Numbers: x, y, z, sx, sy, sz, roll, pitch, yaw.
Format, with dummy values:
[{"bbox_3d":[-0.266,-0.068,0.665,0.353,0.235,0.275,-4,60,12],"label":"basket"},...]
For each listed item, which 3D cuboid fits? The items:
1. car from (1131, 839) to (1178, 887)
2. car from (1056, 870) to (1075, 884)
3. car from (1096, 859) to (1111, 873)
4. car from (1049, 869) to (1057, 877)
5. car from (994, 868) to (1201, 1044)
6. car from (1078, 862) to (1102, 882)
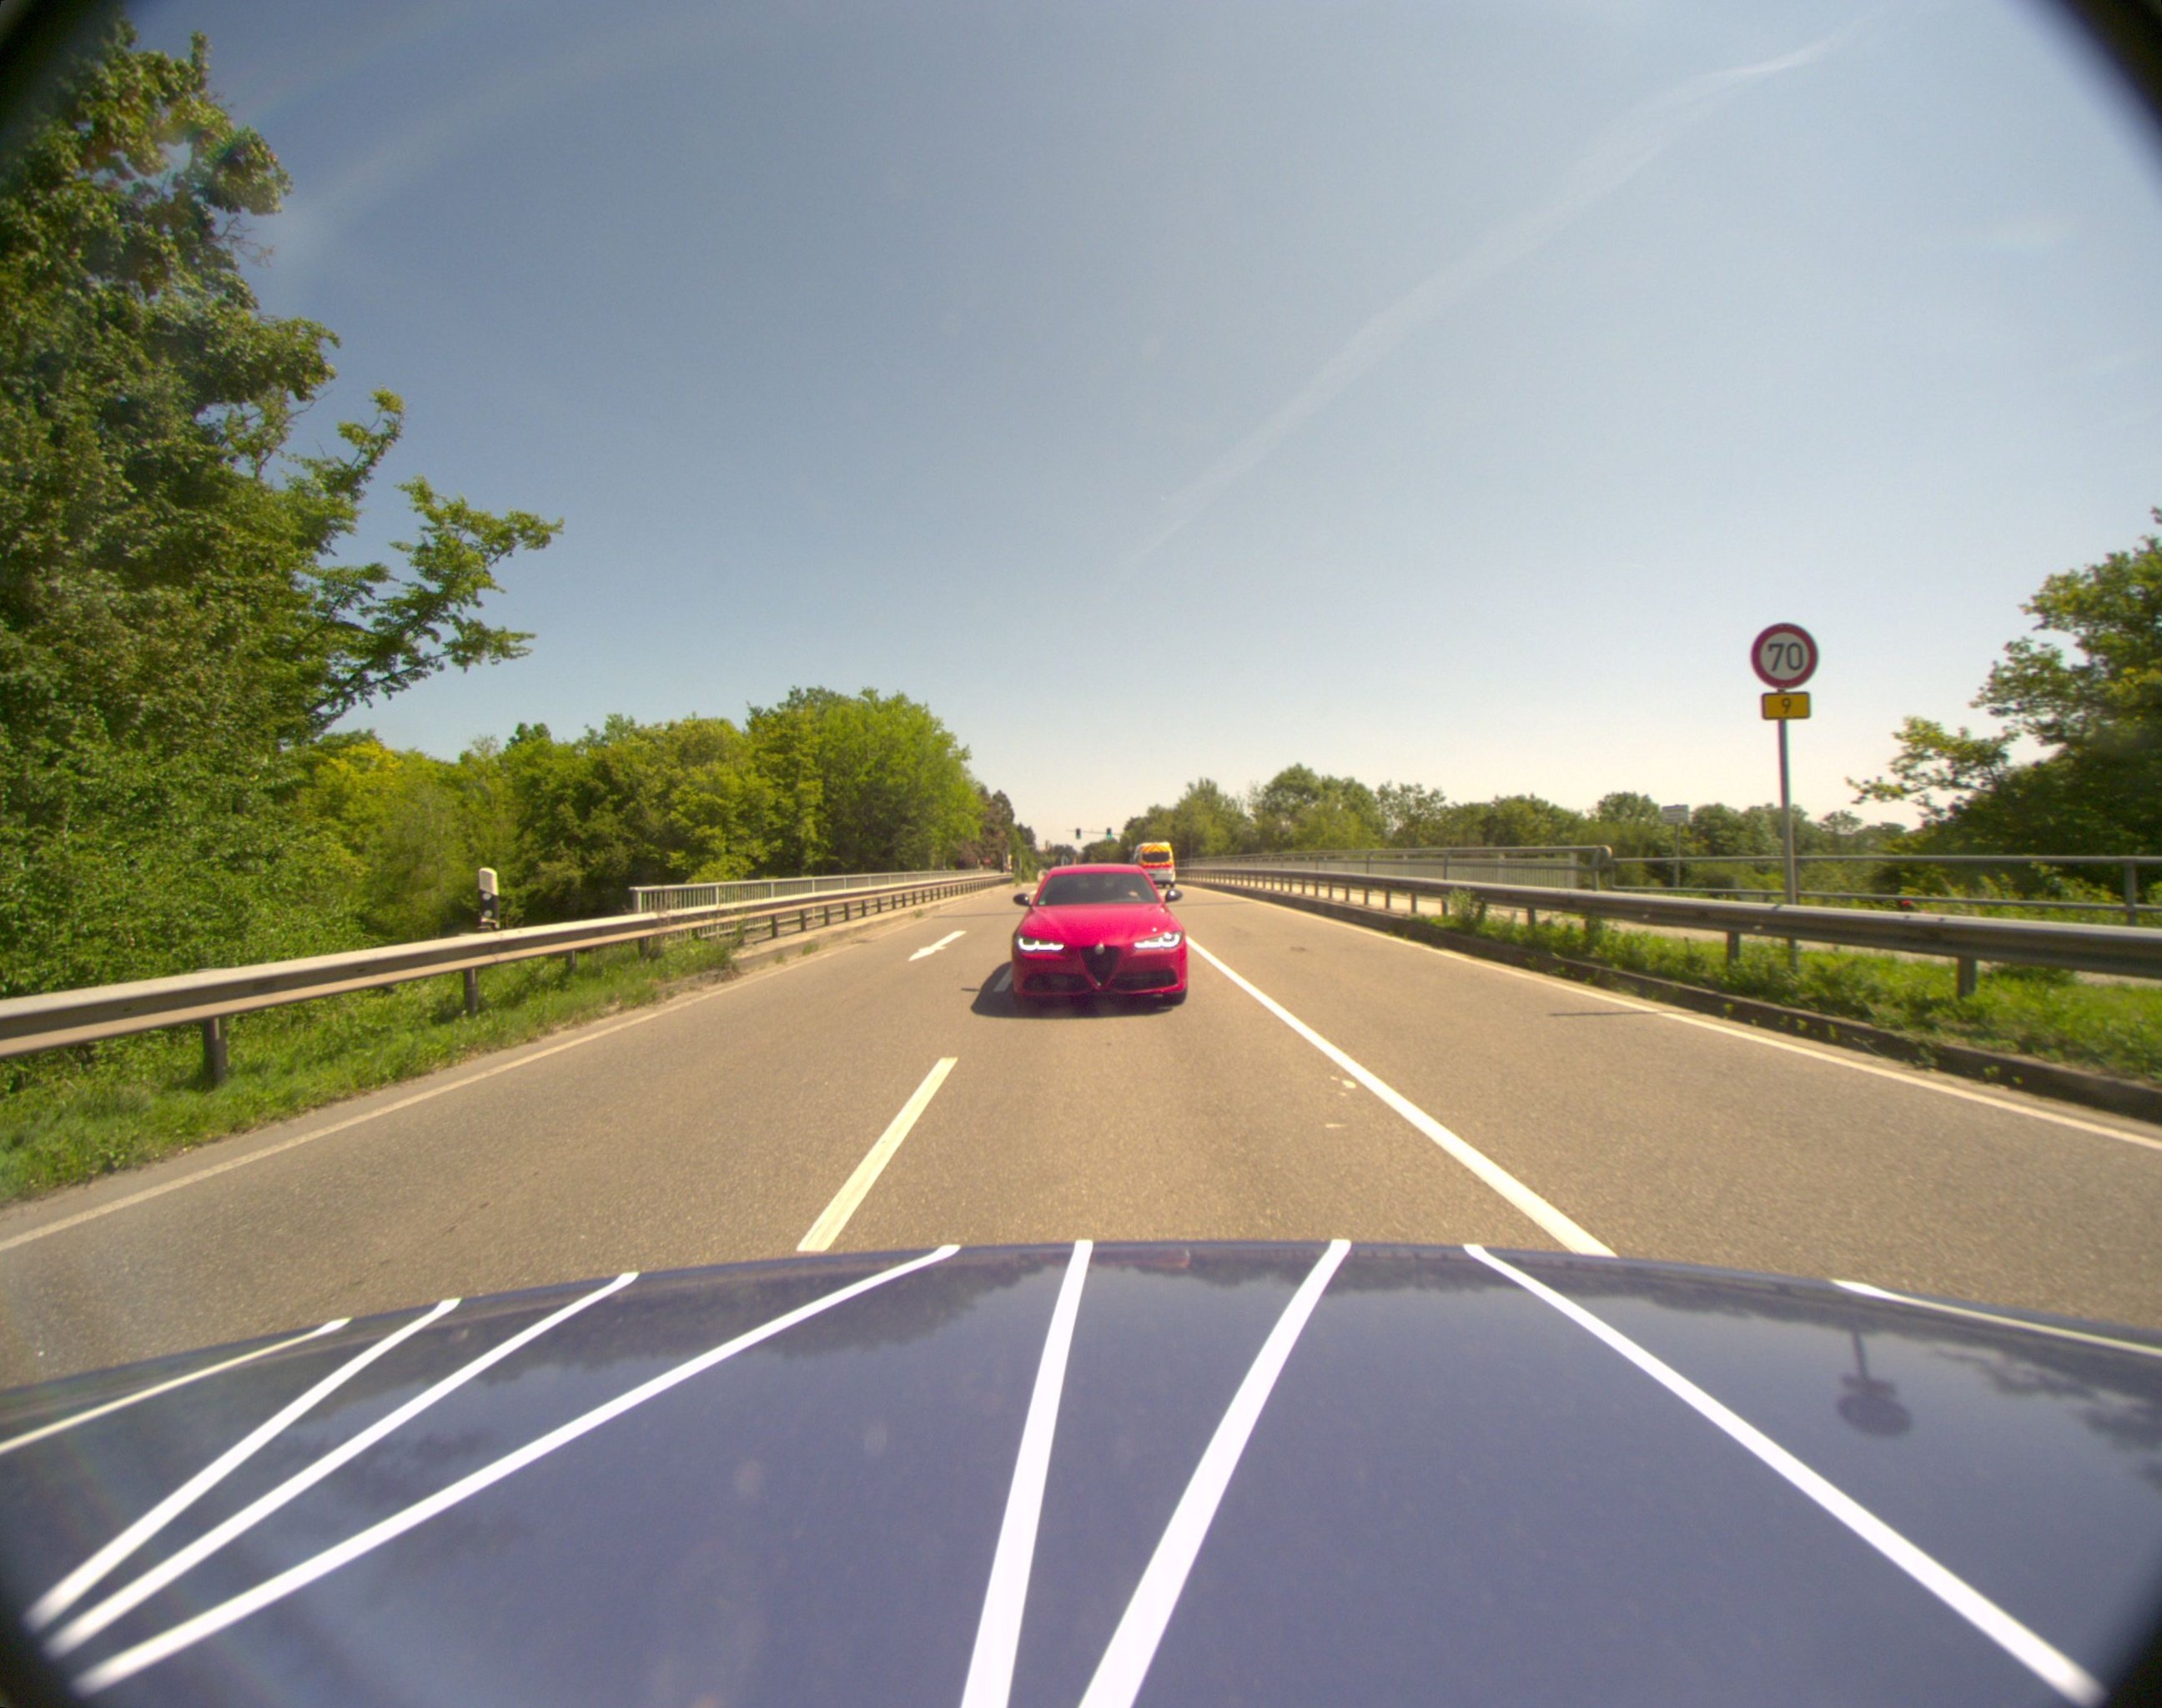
[{"bbox_3d":[3.830,0.455,40.595,1.995,2.354,5.181,-2,0,1],"label":"car"},{"bbox_3d":[-2.117,3.109,101.347,1.635,1.667,3.485,-2,1,-15],"label":"car"},{"bbox_3d":[3.022,1.597,101.467,1.848,1.758,4.000,-1,0,1],"label":"car"},{"bbox_3d":[-5.315,3.576,143.934,1.416,1.499,3.316,-1,0,0],"label":"car"},{"bbox_3d":[0.166,0.943,8.870,1.800,1.448,4.285,-1,0,1],"label":"car"},{"bbox_3d":[0.722,1.424,59.995,1.800,1.448,3.706,-1,0,2],"label":"car"}]
